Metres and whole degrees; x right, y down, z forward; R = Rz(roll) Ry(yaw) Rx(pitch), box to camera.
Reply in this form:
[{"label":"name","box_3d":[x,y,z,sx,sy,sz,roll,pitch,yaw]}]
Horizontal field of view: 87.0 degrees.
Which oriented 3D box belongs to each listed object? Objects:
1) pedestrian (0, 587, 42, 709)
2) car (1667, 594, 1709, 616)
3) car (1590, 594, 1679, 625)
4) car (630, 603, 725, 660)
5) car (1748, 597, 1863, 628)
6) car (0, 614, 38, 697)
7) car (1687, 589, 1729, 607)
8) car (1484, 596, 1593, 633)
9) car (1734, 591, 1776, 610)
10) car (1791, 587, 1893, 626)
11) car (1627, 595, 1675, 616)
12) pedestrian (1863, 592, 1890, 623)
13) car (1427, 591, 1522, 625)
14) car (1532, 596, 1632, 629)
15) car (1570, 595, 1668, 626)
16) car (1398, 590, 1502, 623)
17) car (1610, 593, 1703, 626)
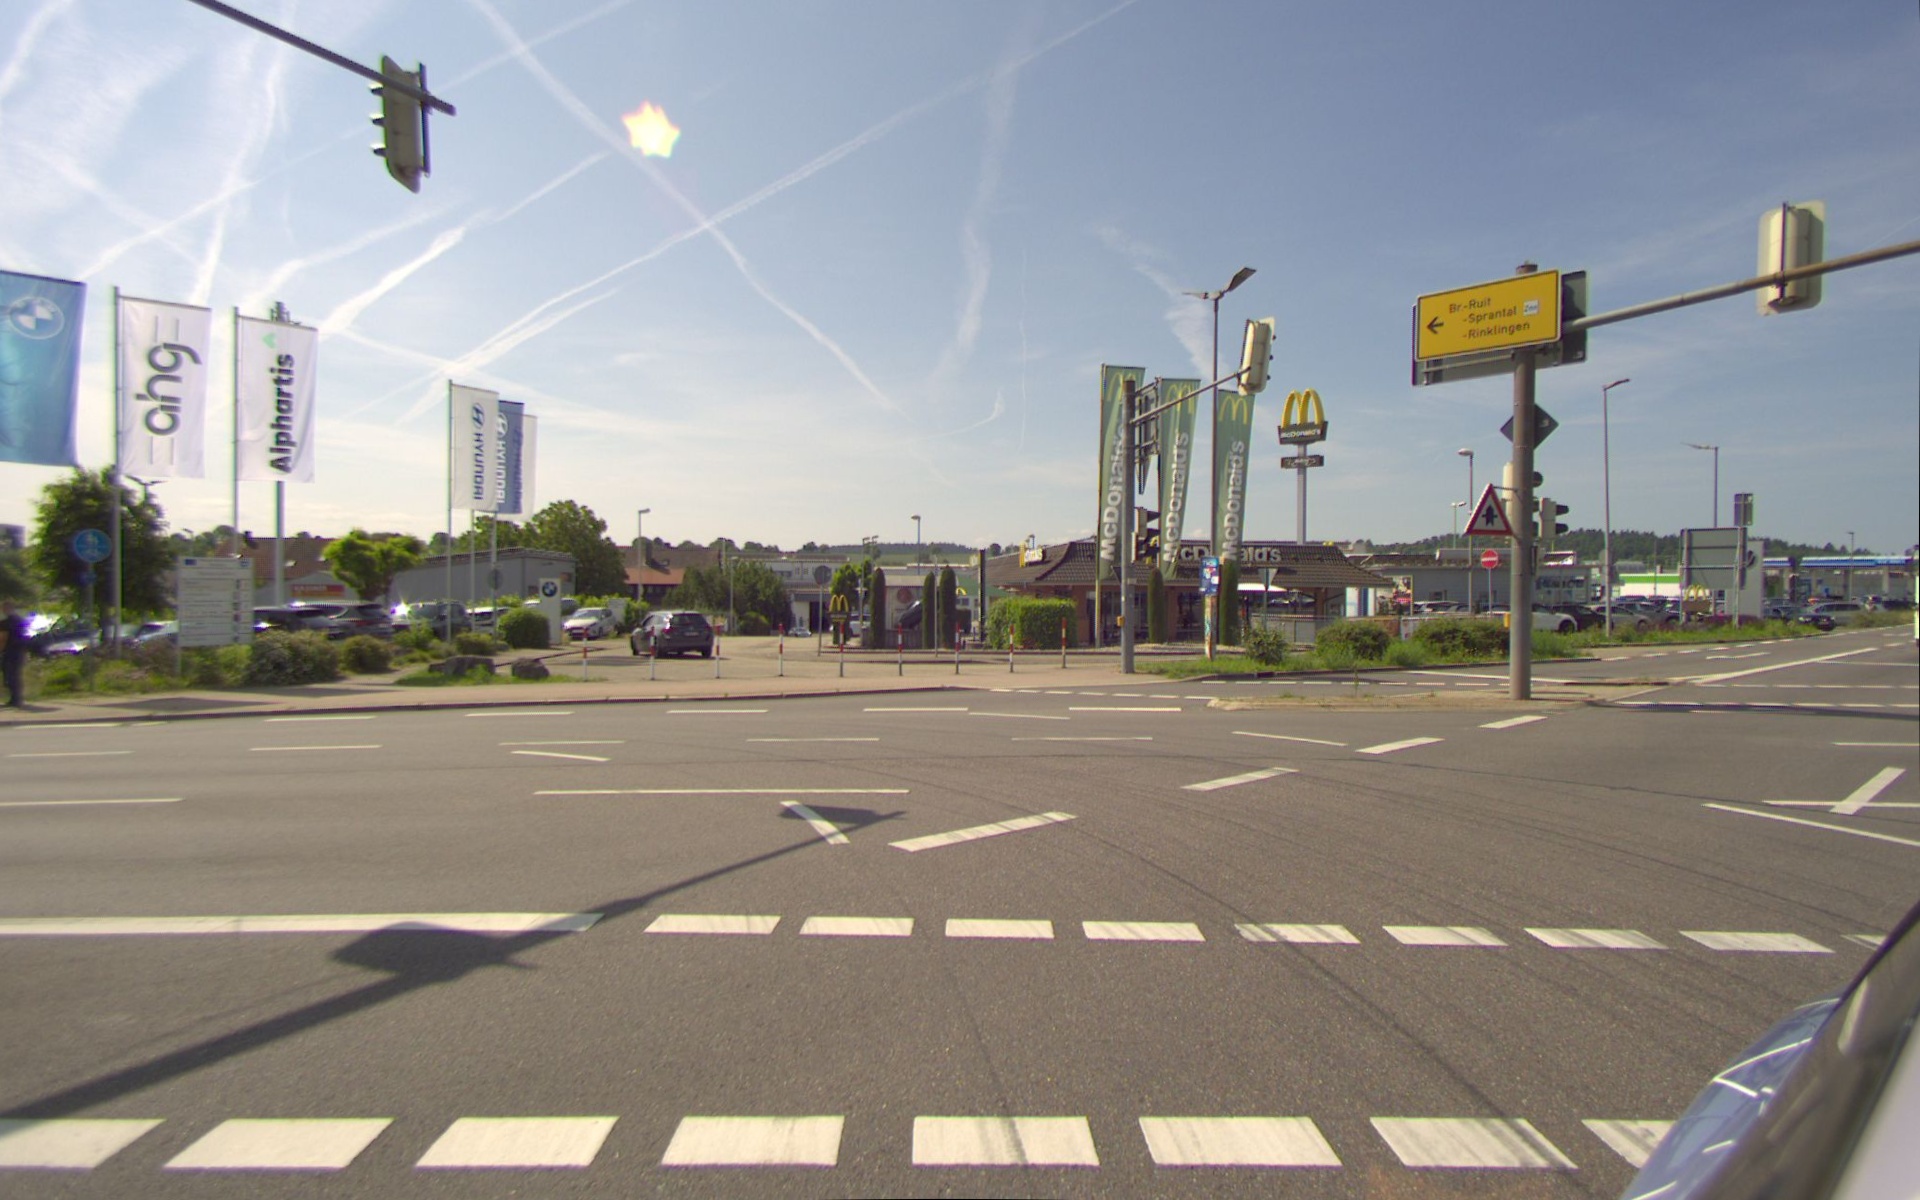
[{"label":"pedestrian","box_3d":[-16.395,0.796,17.260,0.861,2.039,0.665,0,0,-4]},{"label":"car","box_3d":[58.510,0.385,81.279,4.463,1.675,1.965,0,2,-44]},{"label":"car","box_3d":[40.162,0.548,60.374,3.940,1.691,1.913,1,1,14]},{"label":"car","box_3d":[-9.171,0.953,32.588,1.960,1.538,4.456,0,2,-29]},{"label":"car","box_3d":[42.570,0.656,51.107,1.931,1.350,4.808,-3,-2,5]},{"label":"car","box_3d":[-21.510,1.232,20.627,1.961,1.745,4.004,1,1,-4]},{"label":"car","box_3d":[74.269,-0.176,100.437,4.448,1.675,1.778,0,2,-31]},{"label":"car","box_3d":[27.714,0.676,48.574,4.149,1.596,1.863,1,1,-4]},{"label":"car","box_3d":[72.821,0.007,92.715,4.451,1.675,1.777,0,2,-35]},{"label":"car","box_3d":[54.343,0.390,62.425,4.296,2.240,1.752,2,1,21]},{"label":"car","box_3d":[57.649,0.418,84.415,4.452,1.675,1.776,0,2,-35]},{"label":"pedestrian","box_3d":[56.914,0.458,62.859,0.975,1.935,0.740,1,1,16]},{"label":"car","box_3d":[27.061,0.413,53.303,4.087,1.691,1.778,1,1,-4]},{"label":"car","box_3d":[31.745,0.646,51.698,4.009,1.551,1.778,1,1,-4]},{"label":"car","box_3d":[35.408,0.549,54.434,4.179,1.510,1.751,1,1,-4]},{"label":"car","box_3d":[26.844,0.347,55.538,4.722,1.691,1.914,1,1,-4]},{"label":"car","box_3d":[39.846,0.527,57.997,3.975,1.691,1.765,2,1,20]}]
